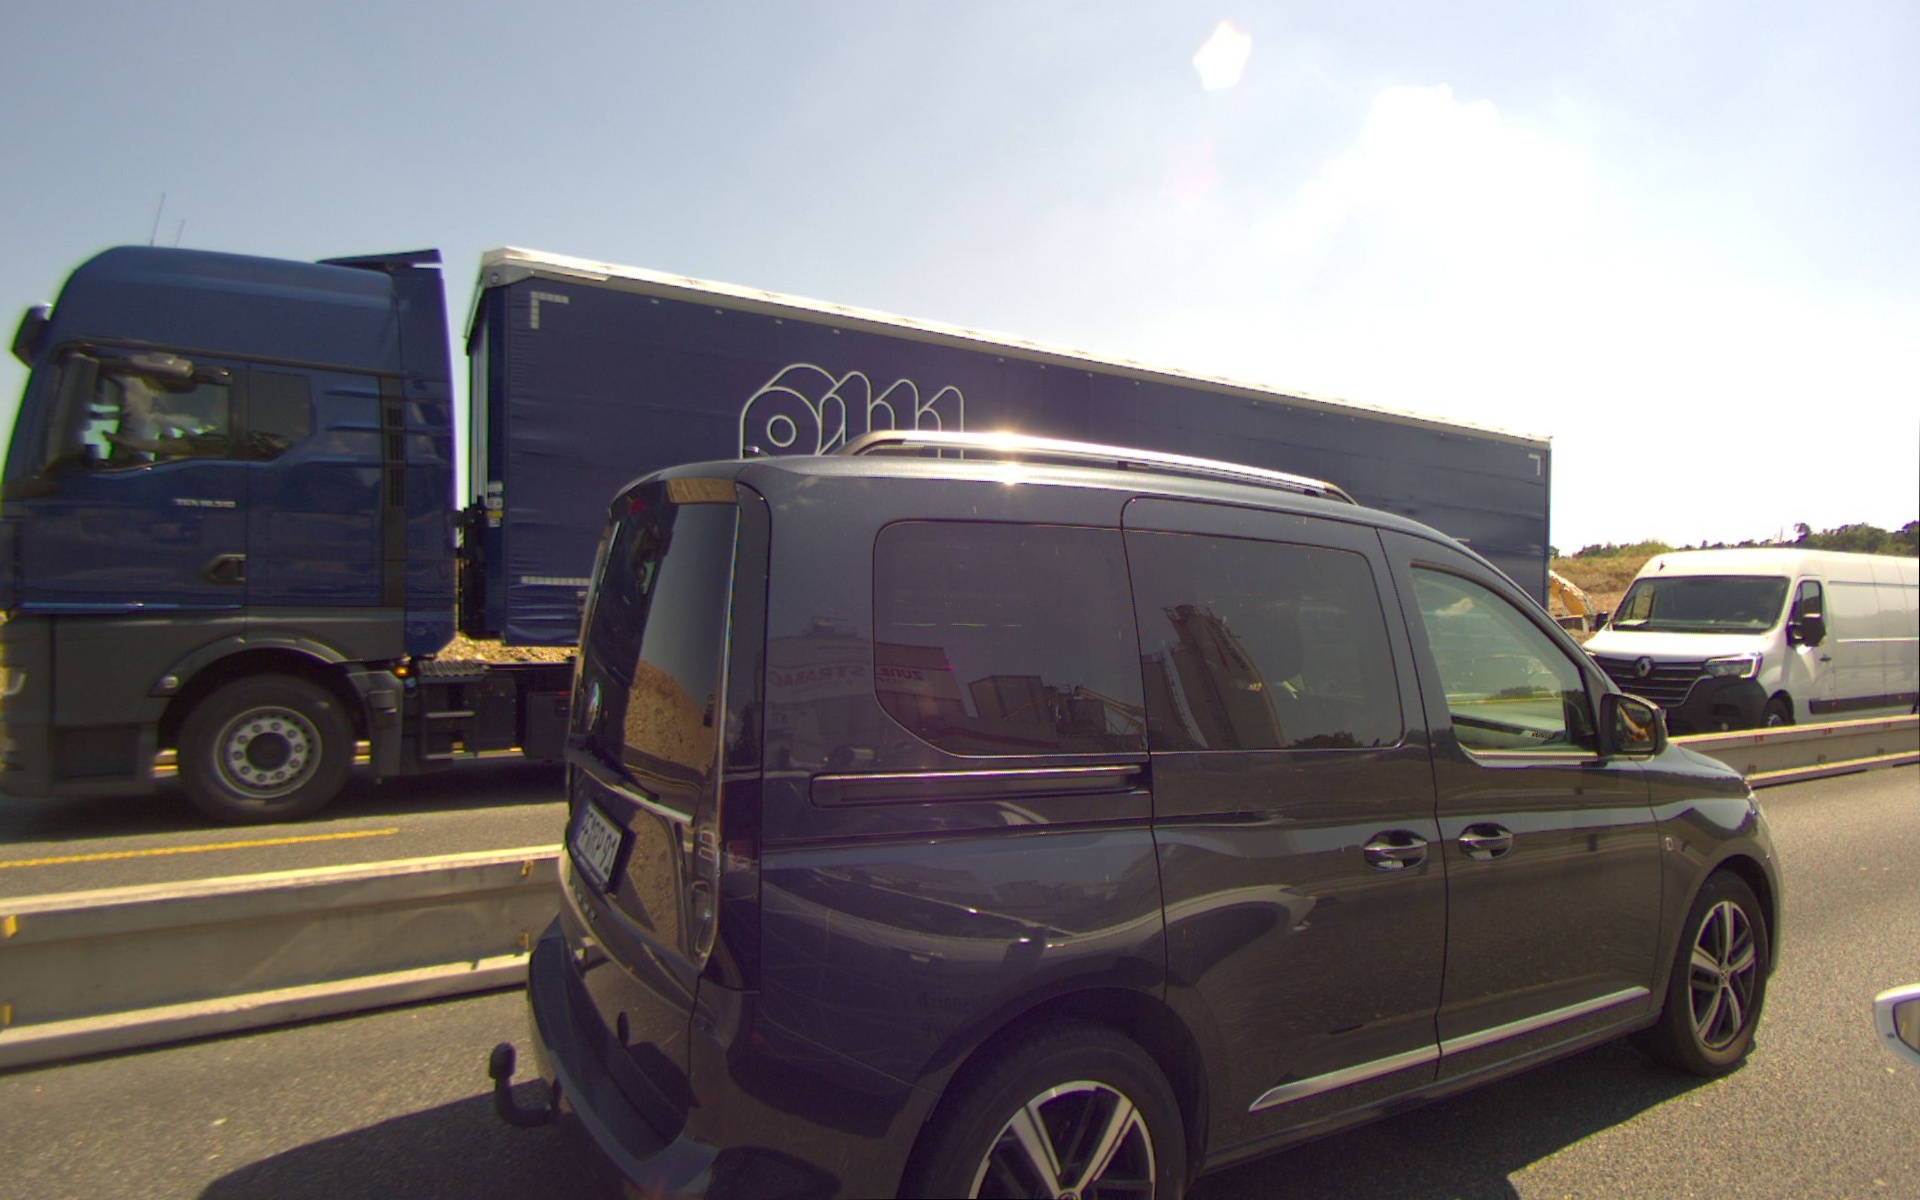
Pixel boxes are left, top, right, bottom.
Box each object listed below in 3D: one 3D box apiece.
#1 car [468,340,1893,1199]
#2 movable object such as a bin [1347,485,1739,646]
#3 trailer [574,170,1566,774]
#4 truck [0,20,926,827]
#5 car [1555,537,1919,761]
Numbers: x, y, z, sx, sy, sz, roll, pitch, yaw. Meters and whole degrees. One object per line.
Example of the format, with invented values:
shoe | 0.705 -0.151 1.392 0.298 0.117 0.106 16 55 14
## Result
car | 1.042 0.580 3.355 4.726 1.849 1.743 1 0 -30
movable object such as a bin | 28.555 -1.535 51.610 3.348 6.863 18.136 2 0 -29
trailer | 2.295 -0.826 12.278 12.733 4.657 2.971 2 0 -30
truck | -3.743 -0.954 8.693 6.171 4.714 2.951 2 0 -30
car | 10.488 0.539 13.044 6.122 2.375 2.025 1 0 -30
